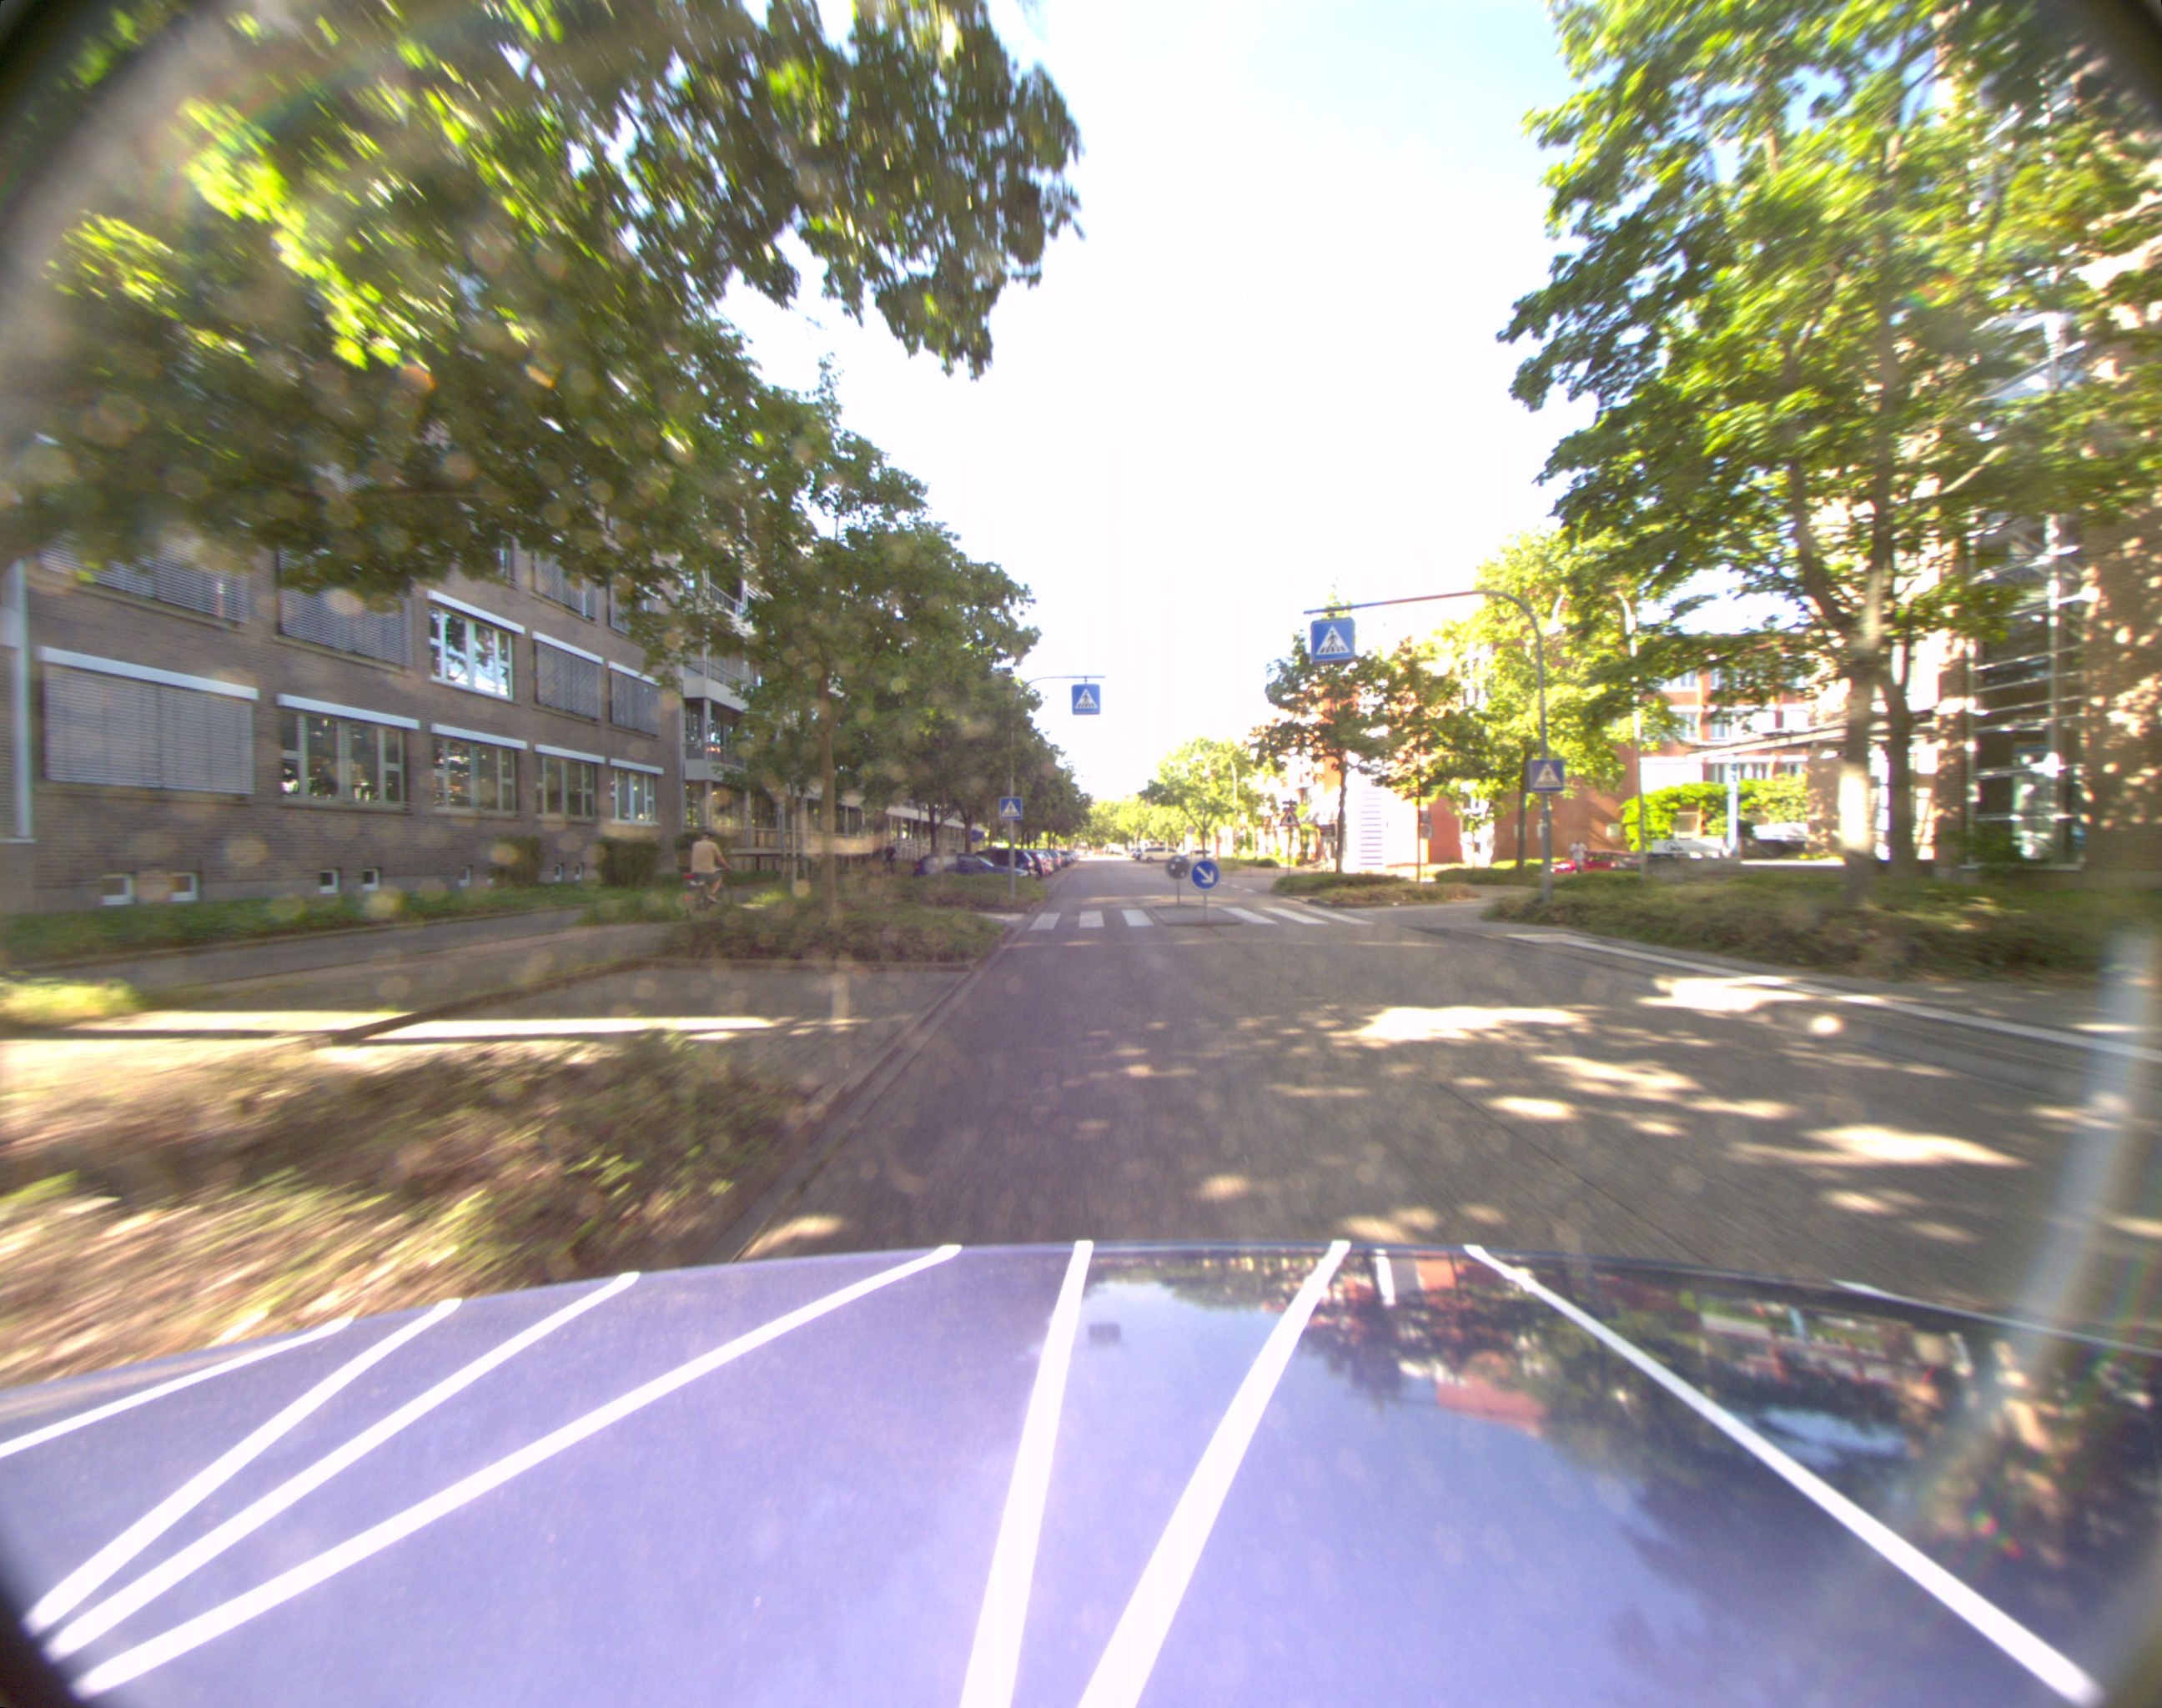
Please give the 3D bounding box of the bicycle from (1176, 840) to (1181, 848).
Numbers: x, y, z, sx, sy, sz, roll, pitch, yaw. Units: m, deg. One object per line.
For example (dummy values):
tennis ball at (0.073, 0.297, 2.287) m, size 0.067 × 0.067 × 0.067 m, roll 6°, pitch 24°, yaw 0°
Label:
bicycle at (14.194, -1.413, 110.402) m, size 0.637 × 1.093 × 2.155 m, roll -2°, pitch 2°, yaw 5°

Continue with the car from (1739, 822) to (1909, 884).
car at (32.126, -0.046, 32.952) m, size 5.474 × 2.554 × 1.923 m, roll -1°, pitch 1°, yaw 0°

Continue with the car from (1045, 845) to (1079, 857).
car at (-2.259, -0.365, 90.248) m, size 3.998 × 1.471 × 1.804 m, roll 0°, pitch 1°, yaw -2°

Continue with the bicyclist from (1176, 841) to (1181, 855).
bicyclist at (14.209, -0.844, 110.338) m, size 0.633 × 2.002 × 0.609 m, roll -2°, pitch 1°, yaw 4°

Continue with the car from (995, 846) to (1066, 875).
car at (-3.018, 0.371, 45.706) m, size 4.136 × 1.657 × 1.907 m, roll -1°, pitch 1°, yaw -3°

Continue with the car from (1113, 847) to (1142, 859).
car at (6.421, -0.123, 105.250) m, size 4.006 × 1.637 × 1.795 m, roll 0°, pitch 1°, yaw 2°

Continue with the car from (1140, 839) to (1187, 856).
car at (9.553, -0.766, 88.050) m, size 5.317 × 1.876 × 2.000 m, roll 0°, pitch 1°, yaw 2°

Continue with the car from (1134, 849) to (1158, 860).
car at (9.850, 0.065, 115.091) m, size 3.451 × 1.647 × 1.594 m, roll 0°, pitch 1°, yaw 1°

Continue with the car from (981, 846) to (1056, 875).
car at (-3.456, 0.368, 42.614) m, size 3.996 × 1.575 × 1.714 m, roll 0°, pitch 1°, yaw 2°

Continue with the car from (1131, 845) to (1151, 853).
car at (10.440, -0.878, 132.948) m, size 3.451 × 1.336 × 1.594 m, roll 0°, pitch 1°, yaw 1°

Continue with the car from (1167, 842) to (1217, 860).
car at (9.568, -0.251, 65.529) m, size 4.003 × 1.411 × 1.618 m, roll -2°, pitch 1°, yaw 0°

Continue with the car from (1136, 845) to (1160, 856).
car at (9.922, -0.538, 112.969) m, size 3.451 × 1.619 × 1.594 m, roll 0°, pitch 1°, yaw 1°

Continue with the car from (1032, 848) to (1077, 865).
car at (-2.402, 0.215, 68.277) m, size 3.916 × 1.375 × 1.586 m, roll 1°, pitch 2°, yaw -3°

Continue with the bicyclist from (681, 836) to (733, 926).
bicyclist at (-7.004, 0.491, 14.257) m, size 0.538 × 1.627 × 0.822 m, roll 0°, pitch 1°, yaw 2°

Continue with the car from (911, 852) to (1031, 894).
car at (-3.916, 0.656, 27.468) m, size 4.127 × 1.363 × 1.654 m, roll 1°, pitch 1°, yaw -3°

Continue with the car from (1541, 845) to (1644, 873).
car at (28.022, 0.276, 41.729) m, size 4.437 × 1.444 × 1.848 m, roll -1°, pitch 1°, yaw 2°

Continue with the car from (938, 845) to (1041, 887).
car at (-3.796, 0.482, 32.037) m, size 4.136 × 1.581 × 1.659 m, roll 1°, pitch 2°, yaw -3°

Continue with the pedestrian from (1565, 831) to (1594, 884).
pedestrian at (18.373, 0.128, 28.033) m, size 0.623 × 1.907 × 0.672 m, roll 0°, pitch 1°, yaw 2°

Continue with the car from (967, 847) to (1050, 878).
car at (-3.655, 0.433, 39.048) m, size 4.136 × 1.509 × 1.836 m, roll 1°, pitch 1°, yaw -3°

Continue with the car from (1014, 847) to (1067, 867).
car at (-3.159, 0.211, 59.790) m, size 3.995 × 1.486 × 1.714 m, roll 2°, pitch 1°, yaw 4°

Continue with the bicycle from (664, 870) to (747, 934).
bicycle at (-6.998, 0.860, 14.278) m, size 0.535 × 1.072 × 1.920 m, roll 0°, pitch 1°, yaw 2°

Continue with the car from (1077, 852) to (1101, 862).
car at (1.195, 0.471, 115.278) m, size 3.554 × 1.544 × 1.743 m, roll 1°, pitch -1°, yaw -2°

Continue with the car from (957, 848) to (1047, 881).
car at (-3.738, 0.489, 36.461) m, size 4.136 × 1.453 × 1.659 m, roll 1°, pitch 1°, yaw -3°

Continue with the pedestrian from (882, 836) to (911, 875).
pedestrian at (-8.690, 0.077, 35.823) m, size 1.037 × 1.788 × 1.018 m, roll -2°, pitch 1°, yaw 0°

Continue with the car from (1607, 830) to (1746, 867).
car at (25.916, -0.230, 33.179) m, size 4.721 × 1.499 × 1.847 m, roll -1°, pitch 1°, yaw -2°
